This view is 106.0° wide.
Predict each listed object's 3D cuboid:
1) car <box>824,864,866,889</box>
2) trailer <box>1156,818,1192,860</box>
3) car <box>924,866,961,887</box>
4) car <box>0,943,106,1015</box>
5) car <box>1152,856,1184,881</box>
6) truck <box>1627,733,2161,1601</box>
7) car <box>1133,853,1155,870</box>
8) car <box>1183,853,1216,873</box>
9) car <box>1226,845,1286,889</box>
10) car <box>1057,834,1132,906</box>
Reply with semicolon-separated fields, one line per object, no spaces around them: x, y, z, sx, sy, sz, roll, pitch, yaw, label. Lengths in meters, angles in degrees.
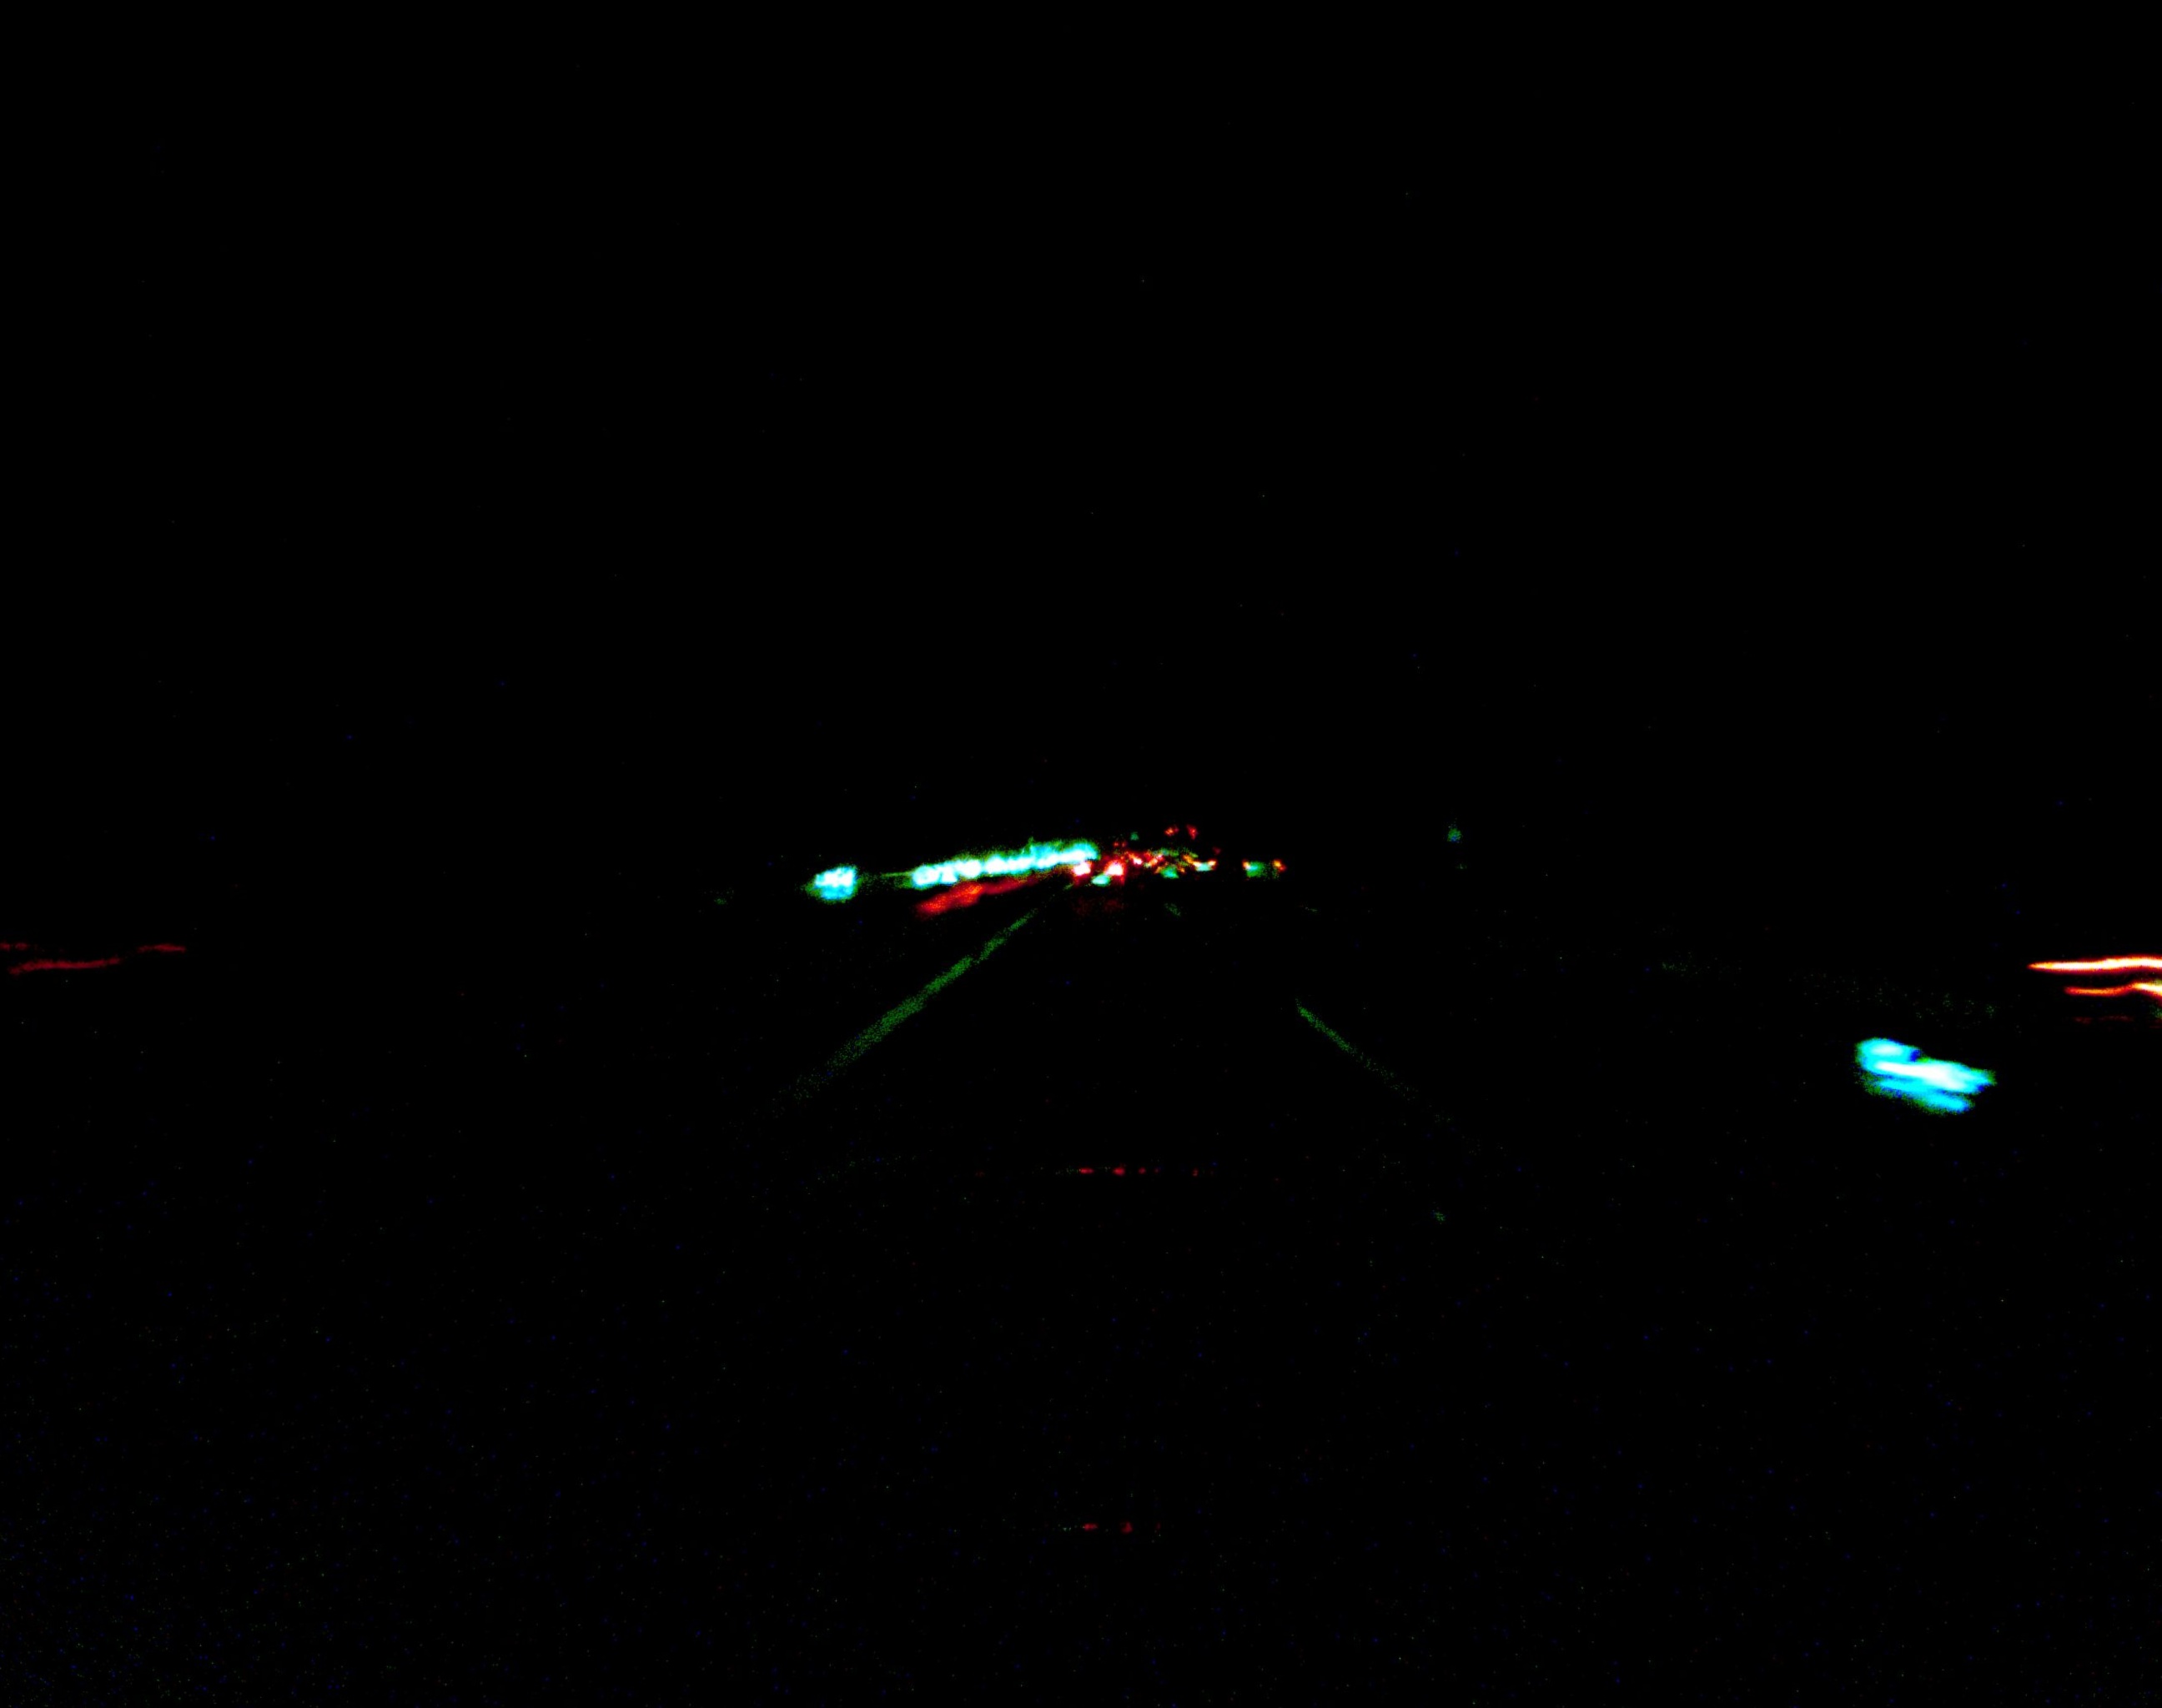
-21.189;2.002;73.460;1.986;1.948;5.389;-3;0;2;car
9.983;-1.555;88.572;2.793;4.212;12.101;-1;0;2;trailer
-10.991;1.763;65.048;1.986;1.415;4.591;-3;0;2;car
-19.678;2.263;13.708;1.632;1.102;4.046;0;0;1;car
5.301;0.863;49.947;1.607;1.412;3.792;-1;0;1;car
2.992;0.601;0.771;1.836;1.696;4.857;0;0;2;truck
6.050;0.715;78.256;1.877;1.588;4.001;-1;0;2;car
9.272;0.696;63.949;1.887;1.486;4.962;0;0;1;car
8.830;0.584;41.477;2.038;1.974;5.411;-3;0;3;car
0.537;0.592;33.633;2.701;2.534;5.831;-3;0;0;car
